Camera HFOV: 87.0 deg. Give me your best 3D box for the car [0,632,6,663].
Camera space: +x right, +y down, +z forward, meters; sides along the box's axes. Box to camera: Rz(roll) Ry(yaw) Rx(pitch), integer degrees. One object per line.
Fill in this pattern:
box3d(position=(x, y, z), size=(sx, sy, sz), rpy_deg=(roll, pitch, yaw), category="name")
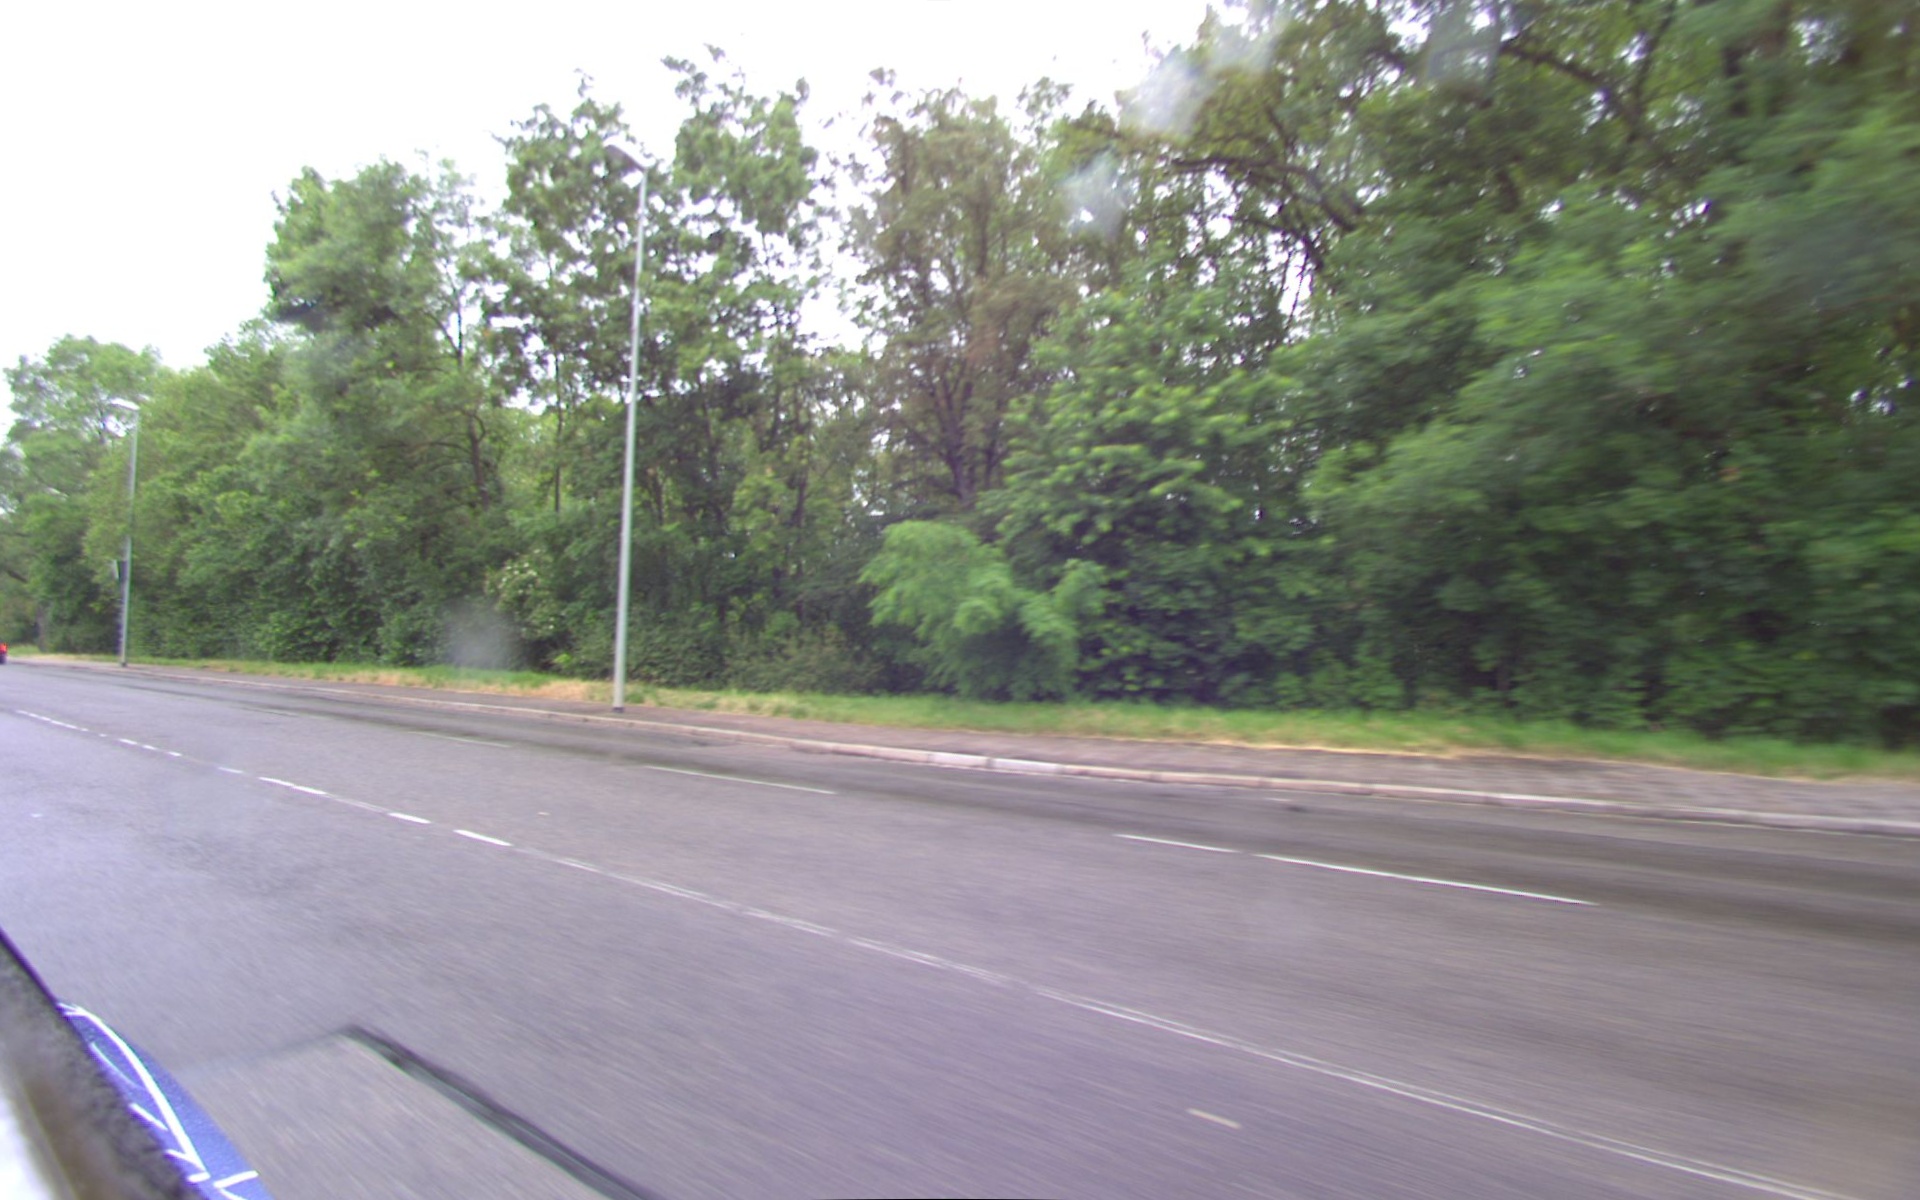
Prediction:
box3d(position=(-47.077, 2.211, 48.149), size=(4.382, 1.443, 1.727), rpy_deg=(-1, -5, 38), category="car")
